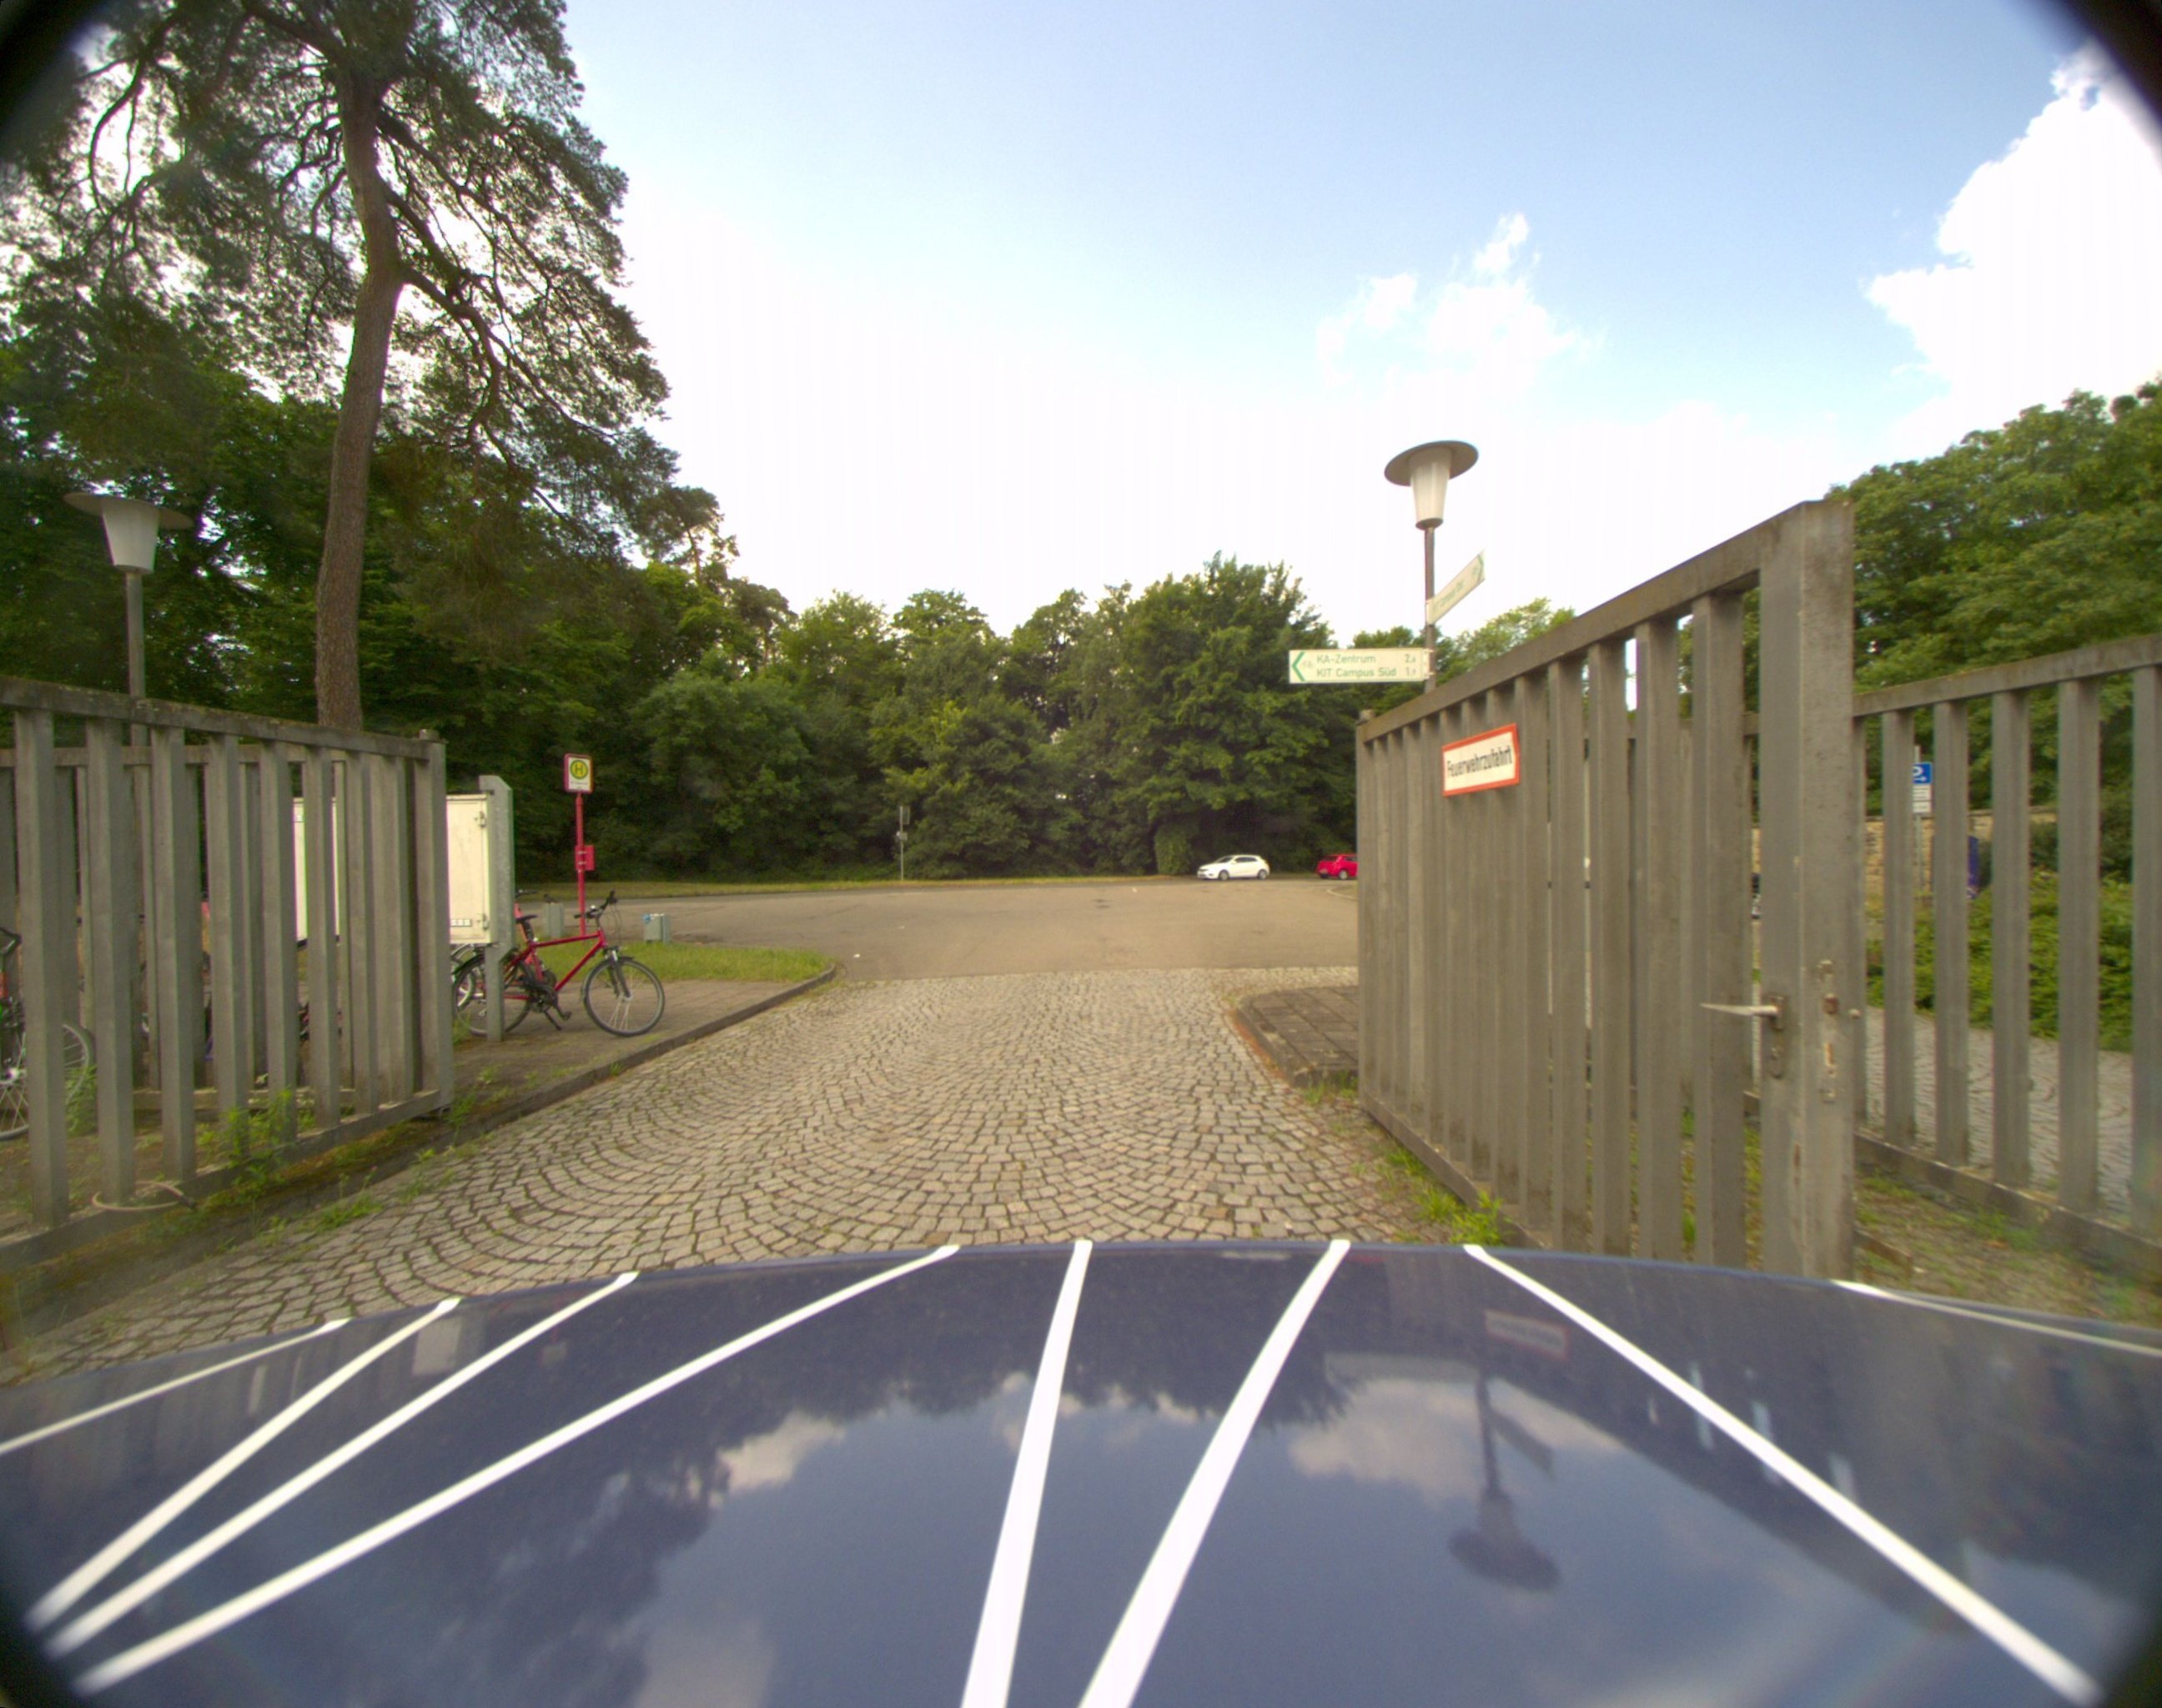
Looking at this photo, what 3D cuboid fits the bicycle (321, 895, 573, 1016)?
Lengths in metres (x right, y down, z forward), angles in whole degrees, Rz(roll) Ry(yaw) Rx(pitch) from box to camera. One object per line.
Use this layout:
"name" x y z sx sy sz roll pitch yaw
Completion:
"bicycle" -6.960 1.098 8.416 2.173 1.233 0.635 0 1 -3

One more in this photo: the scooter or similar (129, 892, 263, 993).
"scooter or similar" -11.167 1.111 9.610 1.090 1.221 0.438 1 2 -4

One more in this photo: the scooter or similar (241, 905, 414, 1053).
"scooter or similar" -6.752 1.099 6.821 1.282 1.238 0.386 0 1 8

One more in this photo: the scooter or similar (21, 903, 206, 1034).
"scooter or similar" -10.822 1.271 8.529 1.251 1.407 0.531 0 -7 3

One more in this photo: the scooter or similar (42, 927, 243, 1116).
"scooter or similar" -7.022 1.189 5.755 0.439 1.143 1.249 -2 1 -26

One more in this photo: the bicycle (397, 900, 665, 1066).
"bicycle" -4.592 1.057 6.440 1.739 1.270 0.672 0 1 -2

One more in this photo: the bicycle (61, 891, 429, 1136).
"bicycle" -5.289 0.963 4.843 1.904 1.409 0.516 0 2 7

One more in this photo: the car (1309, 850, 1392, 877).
"car" 15.403 0.511 43.431 4.208 1.455 1.996 -1 1 -22

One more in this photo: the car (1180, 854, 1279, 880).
"car" 8.555 0.717 43.678 5.419 1.370 1.996 -1 1 -24

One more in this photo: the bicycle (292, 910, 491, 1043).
"bicycle" -6.716 1.151 7.419 1.608 1.155 0.623 0 0 13

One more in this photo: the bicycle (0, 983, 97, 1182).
"bicycle" -6.555 1.223 4.111 1.950 0.962 0.457 -1 1 3
